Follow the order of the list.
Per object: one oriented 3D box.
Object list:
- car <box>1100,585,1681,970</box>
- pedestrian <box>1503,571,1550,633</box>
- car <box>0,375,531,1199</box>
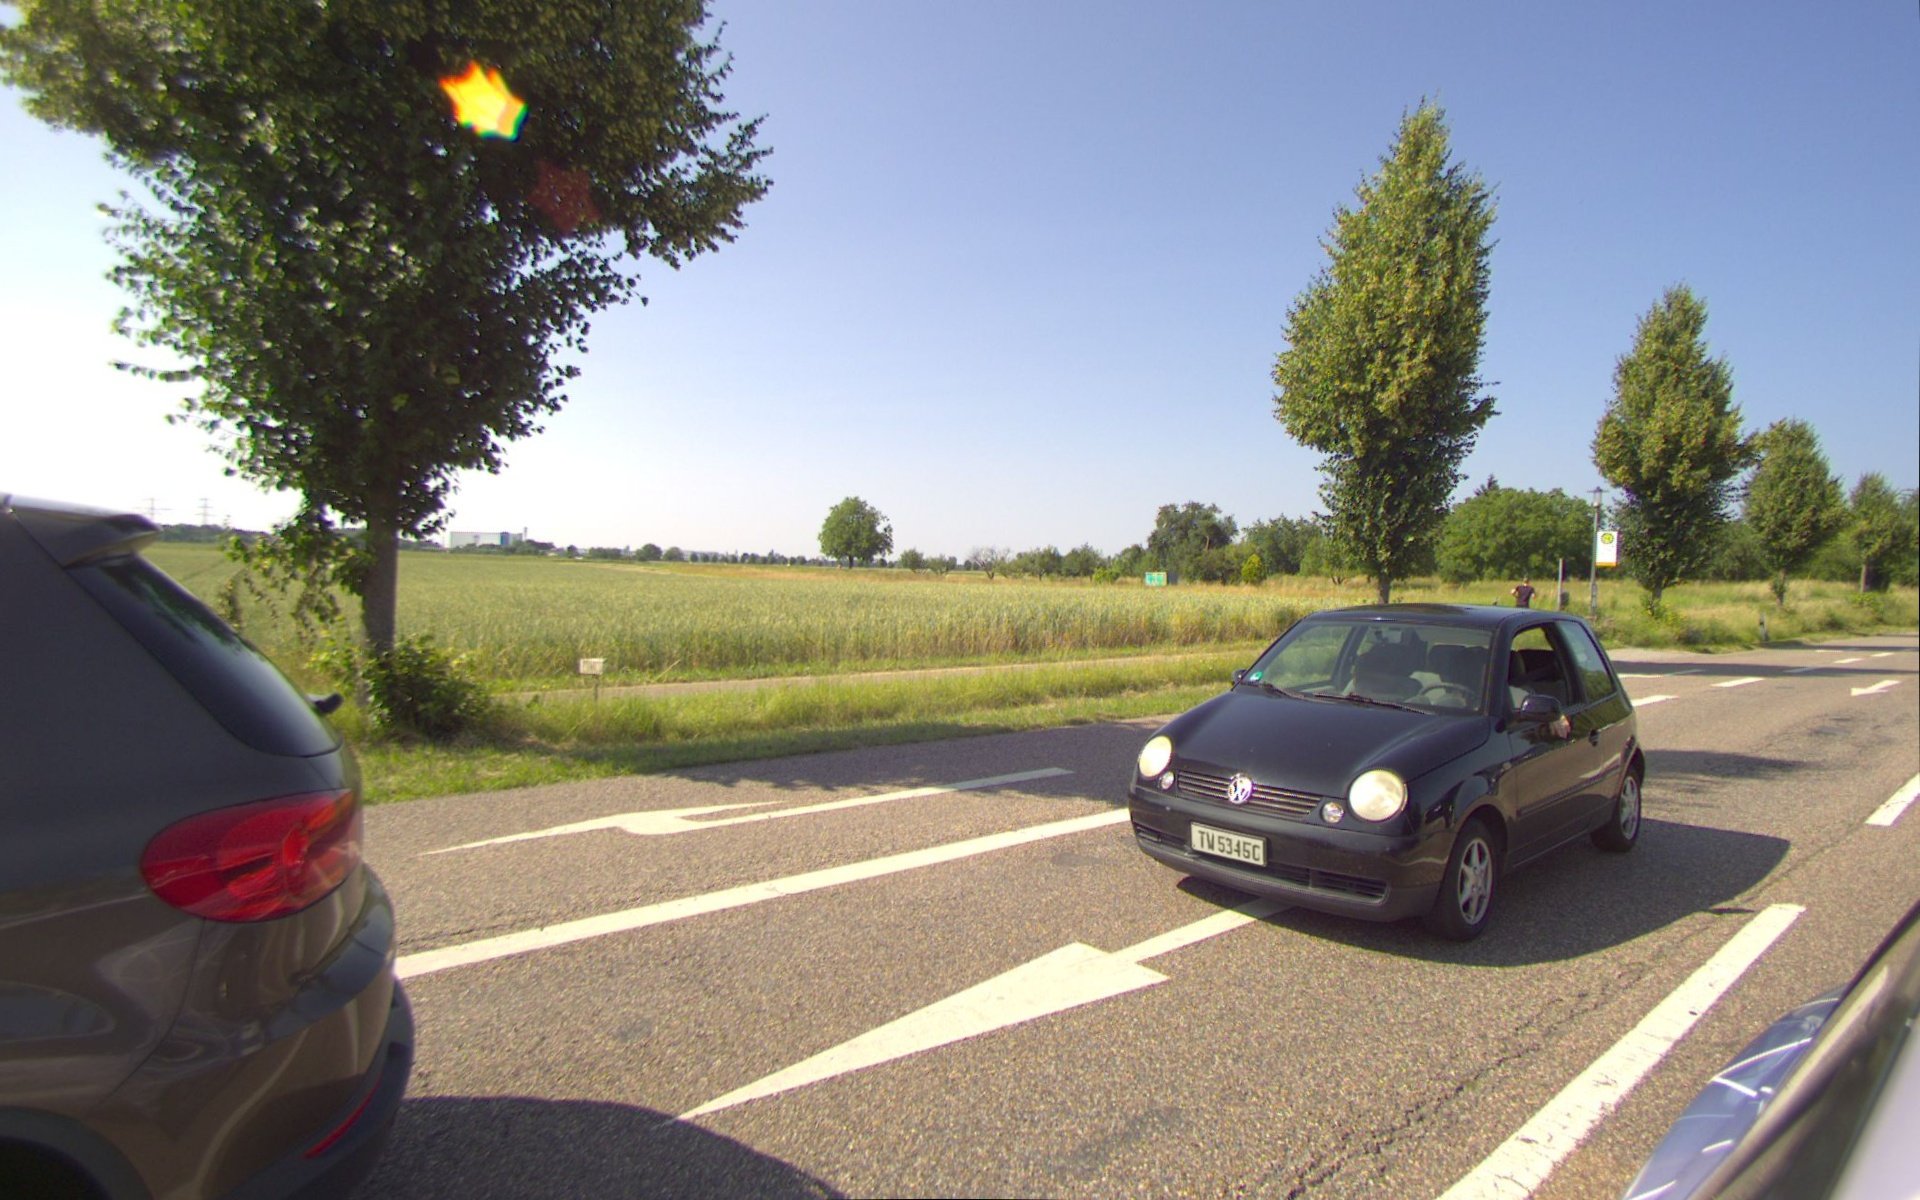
[{"bbox_3d":[2.563,0.661,5.634,3.560,1.451,1.628,0,0,-42],"label":"car"},{"bbox_3d":[17.550,0.060,31.343,1.174,1.862,0.903,0,1,-43],"label":"pedestrian"},{"bbox_3d":[-2.838,0.548,1.057,4.075,1.676,1.758,0,0,-42],"label":"car"}]
